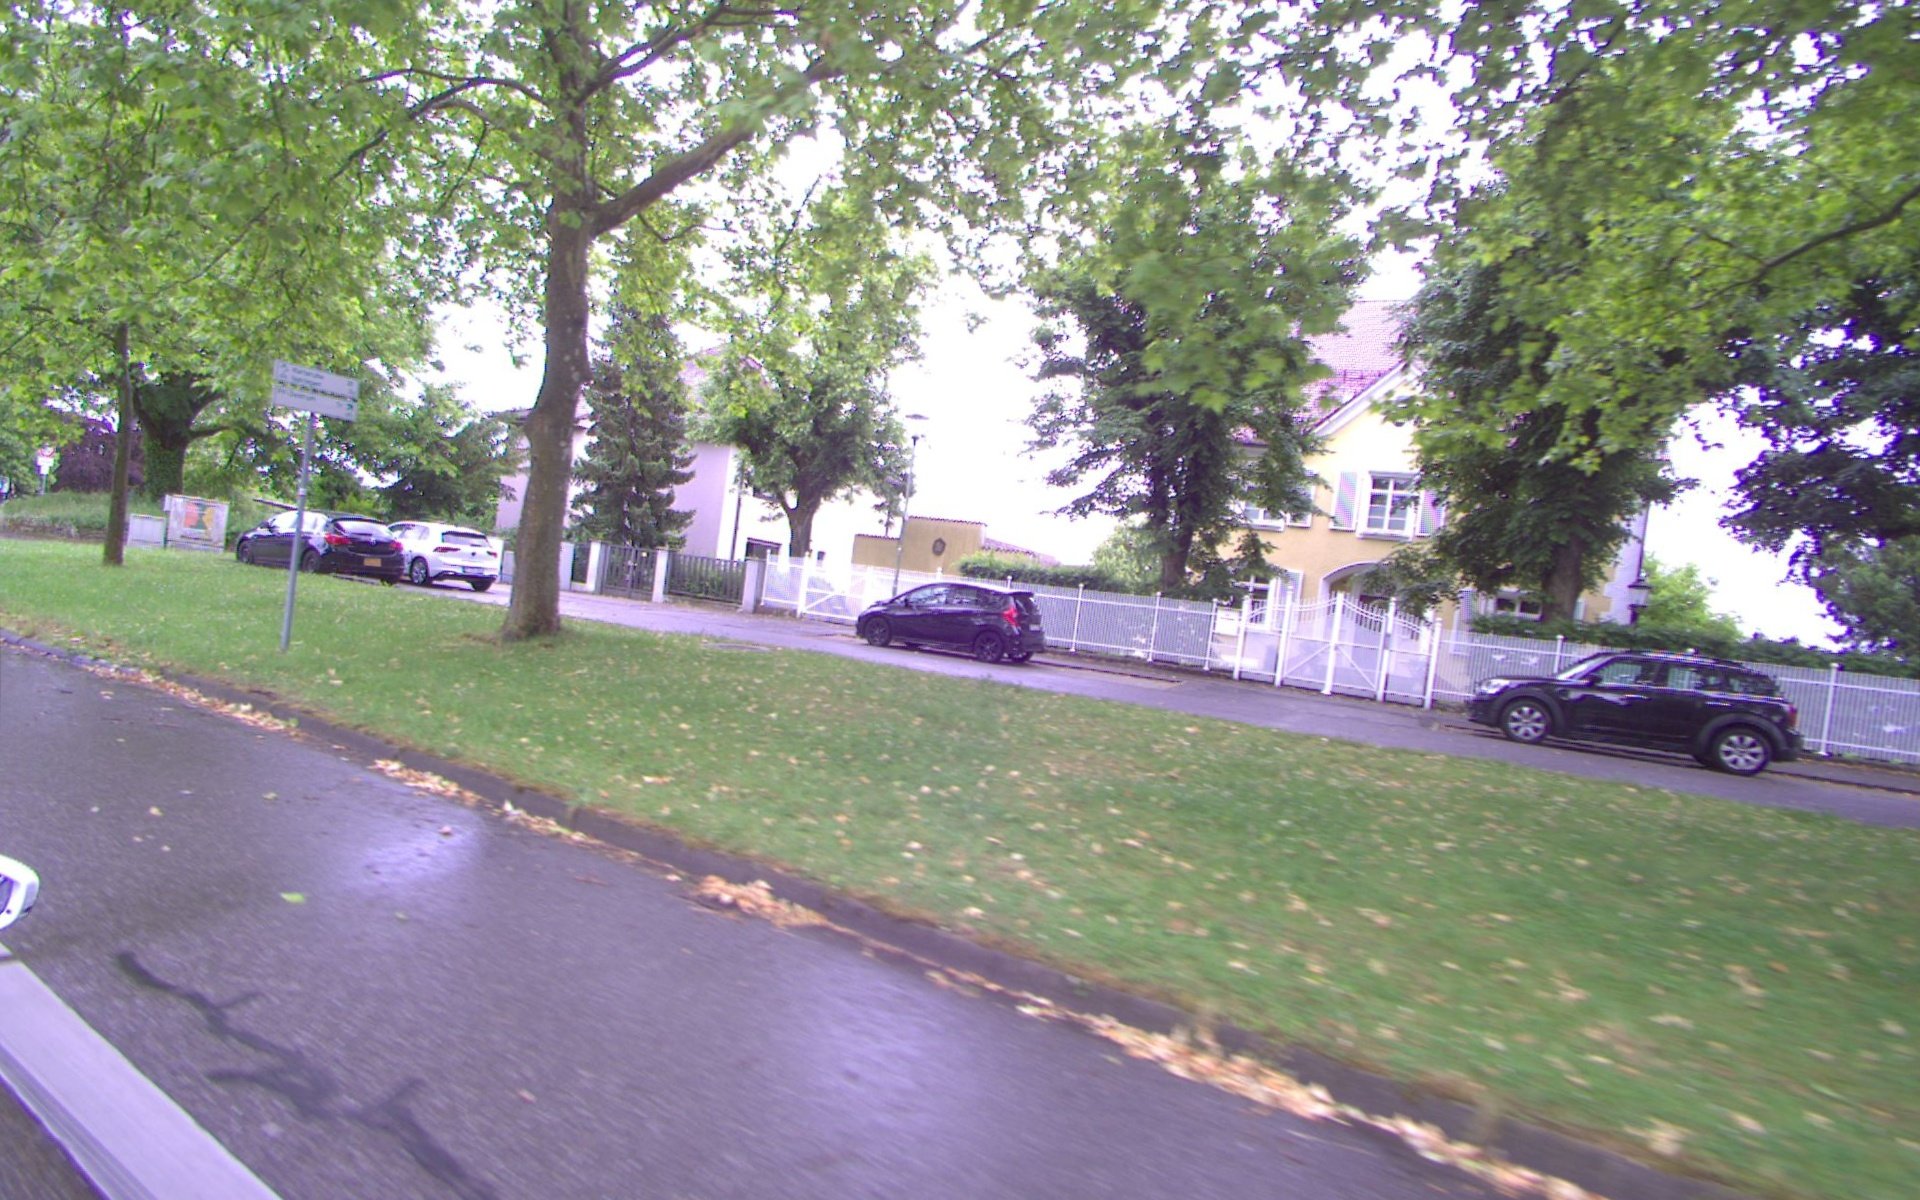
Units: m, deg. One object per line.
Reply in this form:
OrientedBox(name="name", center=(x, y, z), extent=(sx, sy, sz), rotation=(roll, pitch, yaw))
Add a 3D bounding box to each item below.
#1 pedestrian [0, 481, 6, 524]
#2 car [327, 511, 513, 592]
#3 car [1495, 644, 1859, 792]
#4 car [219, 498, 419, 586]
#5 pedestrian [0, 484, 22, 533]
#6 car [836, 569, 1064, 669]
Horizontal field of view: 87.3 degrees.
OrientedBox(name="pedestrian", center=(-35.246, -3.504, 36.478), extent=(0.624, 1.733, 0.530), rotation=(7, -1, 17))
OrientedBox(name="car", center=(-13.084, -1.185, 24.322), extent=(4.350, 1.490, 1.847), rotation=(6, 1, 29))
OrientedBox(name="car", center=(10.454, 1.689, 15.123), extent=(4.052, 1.488, 1.999), rotation=(6, -2, 27))
OrientedBox(name="car", center=(-14.110, -1.283, 22.071), extent=(4.520, 1.490, 1.766), rotation=(6, 1, 30))
OrientedBox(name="pedestrian", center=(-35.339, -3.393, 37.320), extent=(0.632, 1.733, 0.523), rotation=(8, -1, -42))
OrientedBox(name="car", center=(-0.225, 0.375, 20.827), extent=(4.281, 1.488, 1.765), rotation=(6, -2, 27))
